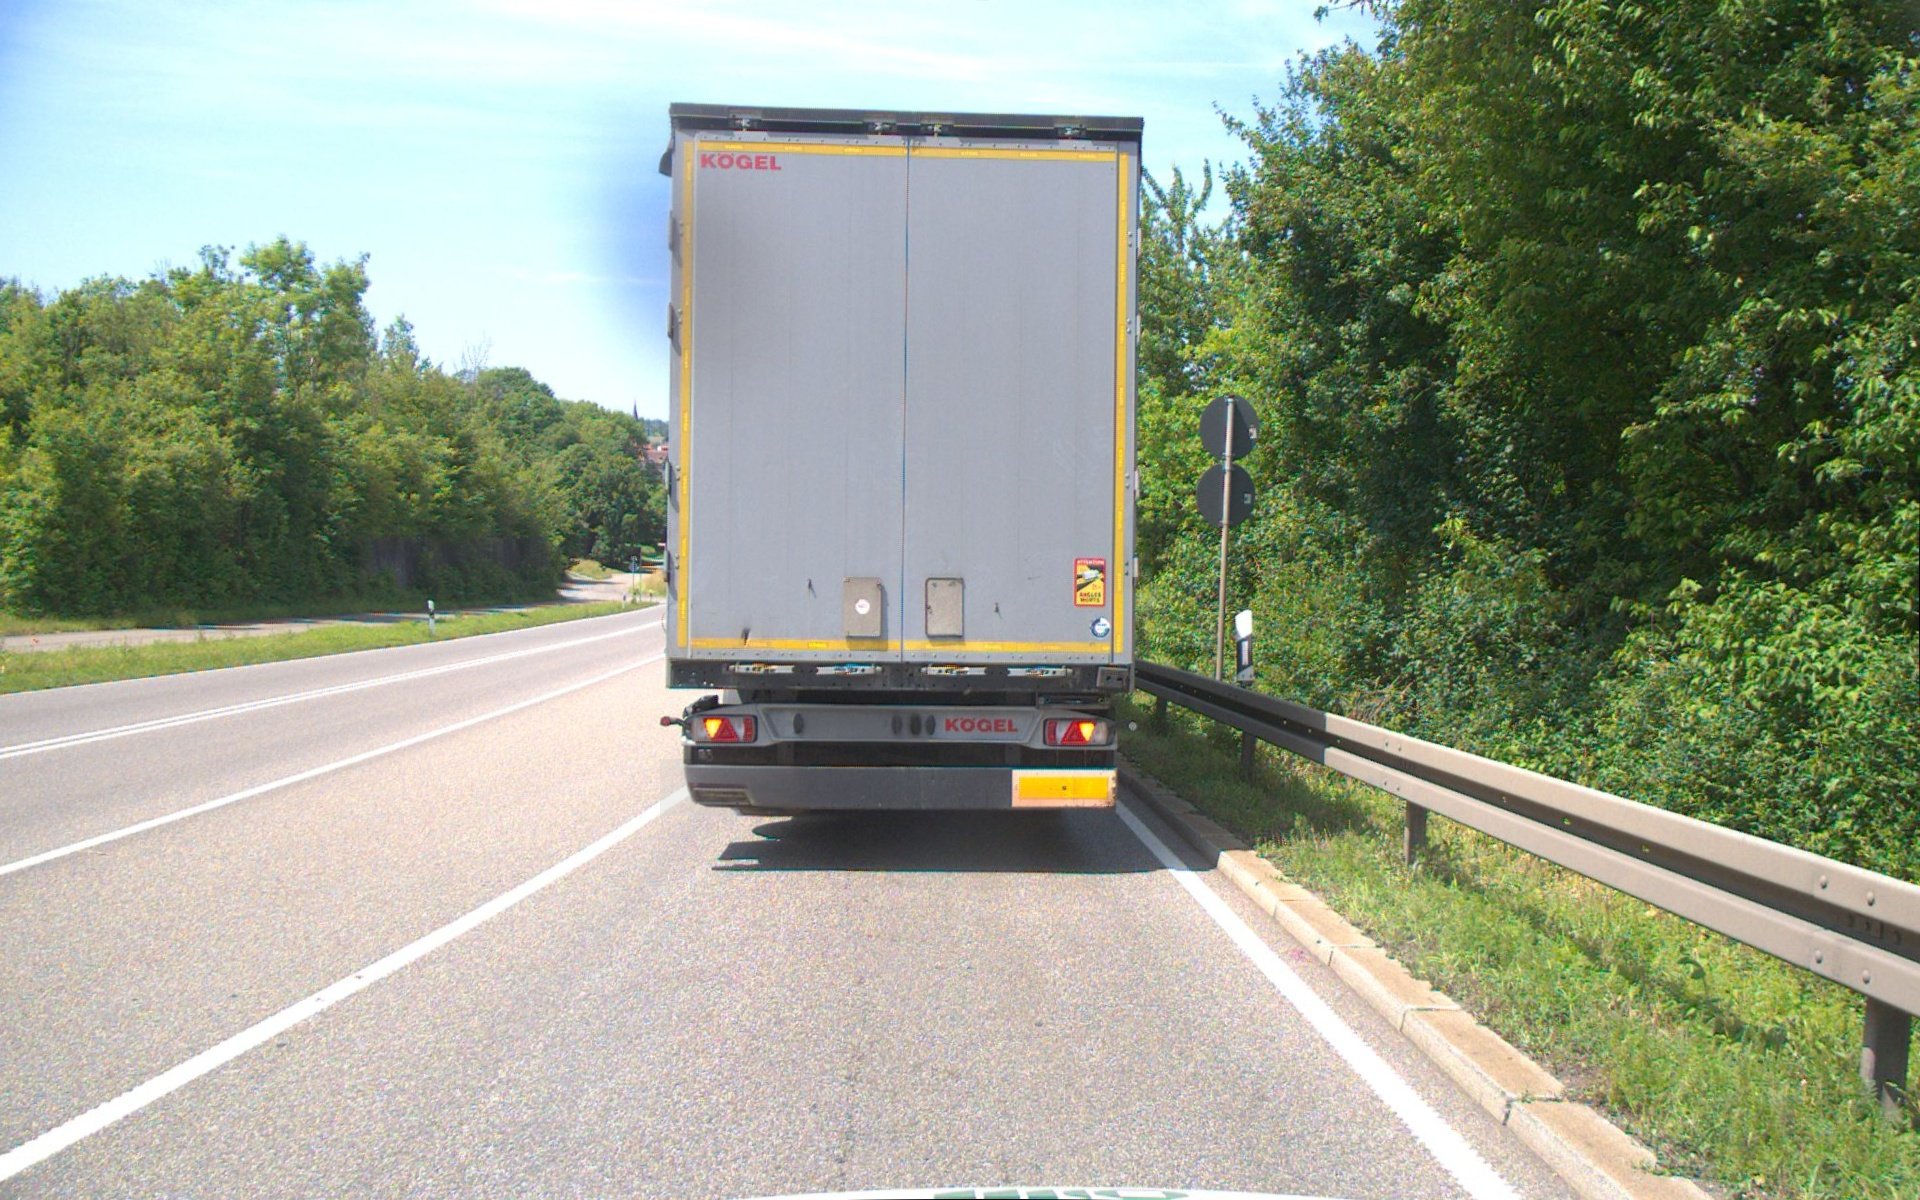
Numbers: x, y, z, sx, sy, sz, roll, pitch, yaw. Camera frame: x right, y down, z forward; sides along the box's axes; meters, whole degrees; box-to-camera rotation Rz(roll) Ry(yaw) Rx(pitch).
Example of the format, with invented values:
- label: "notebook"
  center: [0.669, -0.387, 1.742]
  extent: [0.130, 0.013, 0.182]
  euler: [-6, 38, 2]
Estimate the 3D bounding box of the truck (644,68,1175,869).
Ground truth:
- label: "truck"
  center: [-0.417, -0.704, 14.497]
  extent: [2.701, 4.100, 11.920]
  euler: [1, 0, -2]
